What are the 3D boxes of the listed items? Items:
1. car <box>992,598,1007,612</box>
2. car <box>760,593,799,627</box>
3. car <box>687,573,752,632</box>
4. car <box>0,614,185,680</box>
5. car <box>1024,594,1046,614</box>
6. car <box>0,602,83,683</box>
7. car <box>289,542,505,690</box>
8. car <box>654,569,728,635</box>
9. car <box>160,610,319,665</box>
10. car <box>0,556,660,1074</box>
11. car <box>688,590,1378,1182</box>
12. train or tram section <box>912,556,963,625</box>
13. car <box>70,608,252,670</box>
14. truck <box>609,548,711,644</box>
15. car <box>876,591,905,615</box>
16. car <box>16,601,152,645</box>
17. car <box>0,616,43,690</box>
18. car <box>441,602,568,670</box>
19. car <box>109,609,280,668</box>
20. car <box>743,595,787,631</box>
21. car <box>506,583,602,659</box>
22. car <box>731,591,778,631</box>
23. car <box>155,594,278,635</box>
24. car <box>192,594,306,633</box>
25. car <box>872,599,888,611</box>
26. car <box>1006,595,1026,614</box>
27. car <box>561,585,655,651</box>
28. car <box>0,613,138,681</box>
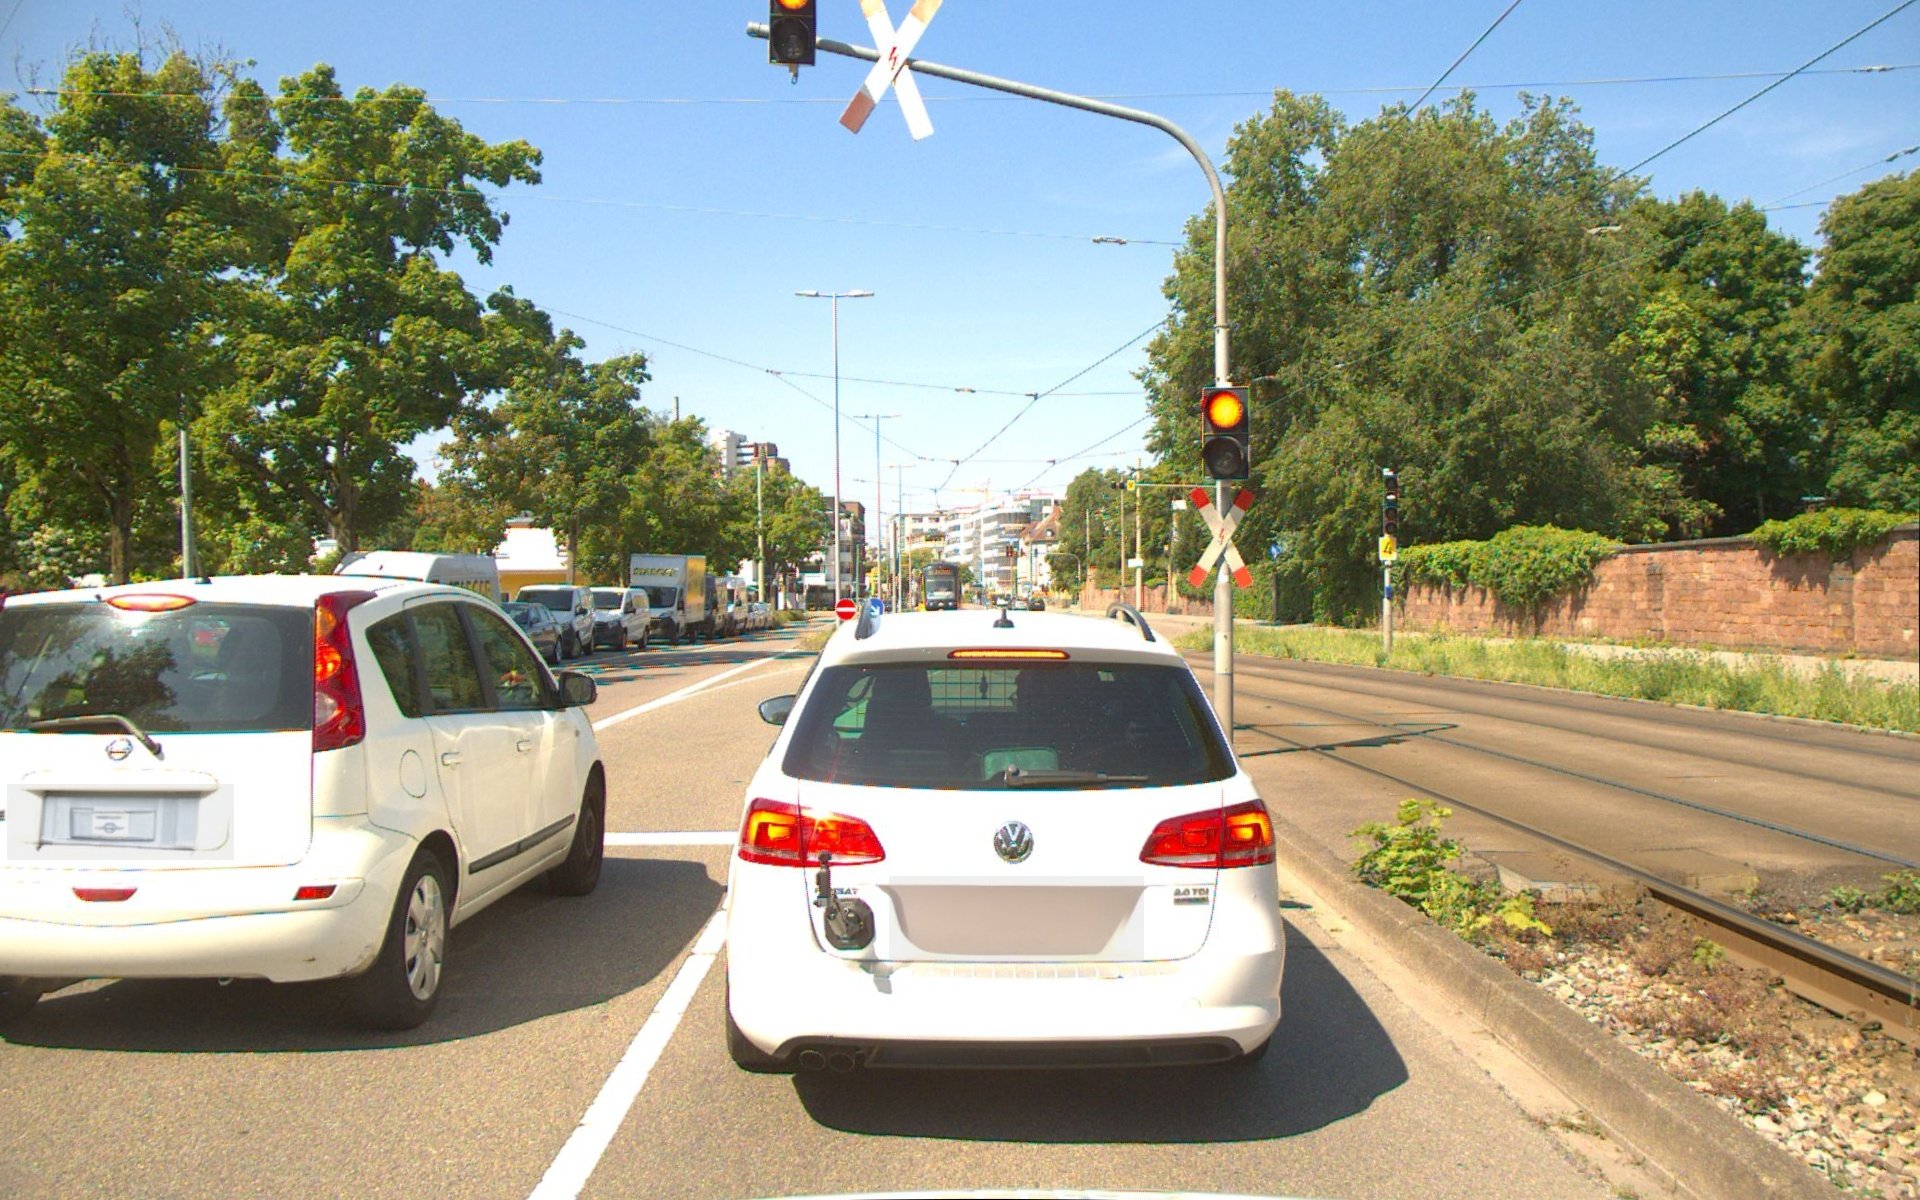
[{"bbox_3d":[5.567,0.767,235.154,1.826,1.900,5.060,1,0,-2],"label":"car"},{"bbox_3d":[-10.703,0.551,98.434,1.826,1.900,5.412,1,0,-1],"label":"car"},{"bbox_3d":[-10.941,0.089,75.592,2.079,2.560,5.733,1,0,0],"label":"car"},{"bbox_3d":[-21.731,1.162,41.251,3.909,1.440,1.728,-2,0,-5],"label":"car"},{"bbox_3d":[7.467,0.400,165.052,1.826,1.900,5.060,1,0,-2],"label":"car"},{"bbox_3d":[-21.075,0.957,35.126,3.909,1.638,1.728,-2,0,-5],"label":"car"},{"bbox_3d":[-10.744,0.270,32.137,2.079,2.560,5.817,1,0,1],"label":"car"},{"bbox_3d":[-11.008,0.055,68.155,2.079,2.560,5.733,1,0,0],"label":"car"},{"bbox_3d":[-21.275,1.096,48.938,3.909,1.440,1.728,-2,0,-5],"label":"car"},{"bbox_3d":[-2.561,0.641,7.301,1.628,1.575,4.546,0,0,0],"label":"car"},{"bbox_3d":[0.160,0.713,6.203,1.726,1.455,3.999,-1,0,-1],"label":"car"},{"bbox_3d":[-1.392,-0.574,100.813,2.812,3.923,12.389,-1,0,-1],"label":"train or tram section"},{"bbox_3d":[-21.108,1.019,43.792,3.909,1.440,1.728,-2,0,-5],"label":"car"},{"bbox_3d":[-10.813,-0.153,60.159,2.371,3.205,6.996,1,0,0],"label":"truck"},{"bbox_3d":[-4.720,0.188,112.809,1.670,1.499,4.589,-1,0,0],"label":"car"},{"bbox_3d":[-37.762,0.977,71.390,4.698,1.819,2.062,1,0,-5],"label":"car"},{"bbox_3d":[-20.729,1.117,32.907,3.909,1.440,1.728,-2,0,-5],"label":"car"},{"bbox_3d":[-10.541,0.795,38.577,1.826,1.440,4.278,1,0,-1],"label":"car"},{"bbox_3d":[-21.286,1.051,46.120,3.909,1.440,1.728,-2,0,-5],"label":"car"},{"bbox_3d":[-10.759,0.679,91.517,1.826,1.900,5.412,1,0,-1],"label":"car"},{"bbox_3d":[-10.961,0.525,45.003,1.828,1.900,5.068,1,0,-6],"label":"car"},{"bbox_3d":[-10.488,0.530,84.706,1.826,1.900,5.412,1,0,-1],"label":"car"},{"bbox_3d":[-34.379,0.660,76.563,4.698,1.819,2.062,1,0,-5],"label":"car"},{"bbox_3d":[-34.895,0.670,81.308,4.698,1.819,2.062,1,0,-5],"label":"car"},{"bbox_3d":[-9.865,0.598,203.844,1.673,1.499,4.583,-1,0,-6],"label":"car"},{"bbox_3d":[6.137,0.474,180.996,1.826,1.900,5.060,1,0,-2],"label":"car"},{"bbox_3d":[-10.931,0.521,51.734,1.826,1.900,5.412,1,0,-1],"label":"car"},{"bbox_3d":[-21.615,1.110,38.643,3.909,1.440,1.728,-2,0,-5],"label":"car"}]
